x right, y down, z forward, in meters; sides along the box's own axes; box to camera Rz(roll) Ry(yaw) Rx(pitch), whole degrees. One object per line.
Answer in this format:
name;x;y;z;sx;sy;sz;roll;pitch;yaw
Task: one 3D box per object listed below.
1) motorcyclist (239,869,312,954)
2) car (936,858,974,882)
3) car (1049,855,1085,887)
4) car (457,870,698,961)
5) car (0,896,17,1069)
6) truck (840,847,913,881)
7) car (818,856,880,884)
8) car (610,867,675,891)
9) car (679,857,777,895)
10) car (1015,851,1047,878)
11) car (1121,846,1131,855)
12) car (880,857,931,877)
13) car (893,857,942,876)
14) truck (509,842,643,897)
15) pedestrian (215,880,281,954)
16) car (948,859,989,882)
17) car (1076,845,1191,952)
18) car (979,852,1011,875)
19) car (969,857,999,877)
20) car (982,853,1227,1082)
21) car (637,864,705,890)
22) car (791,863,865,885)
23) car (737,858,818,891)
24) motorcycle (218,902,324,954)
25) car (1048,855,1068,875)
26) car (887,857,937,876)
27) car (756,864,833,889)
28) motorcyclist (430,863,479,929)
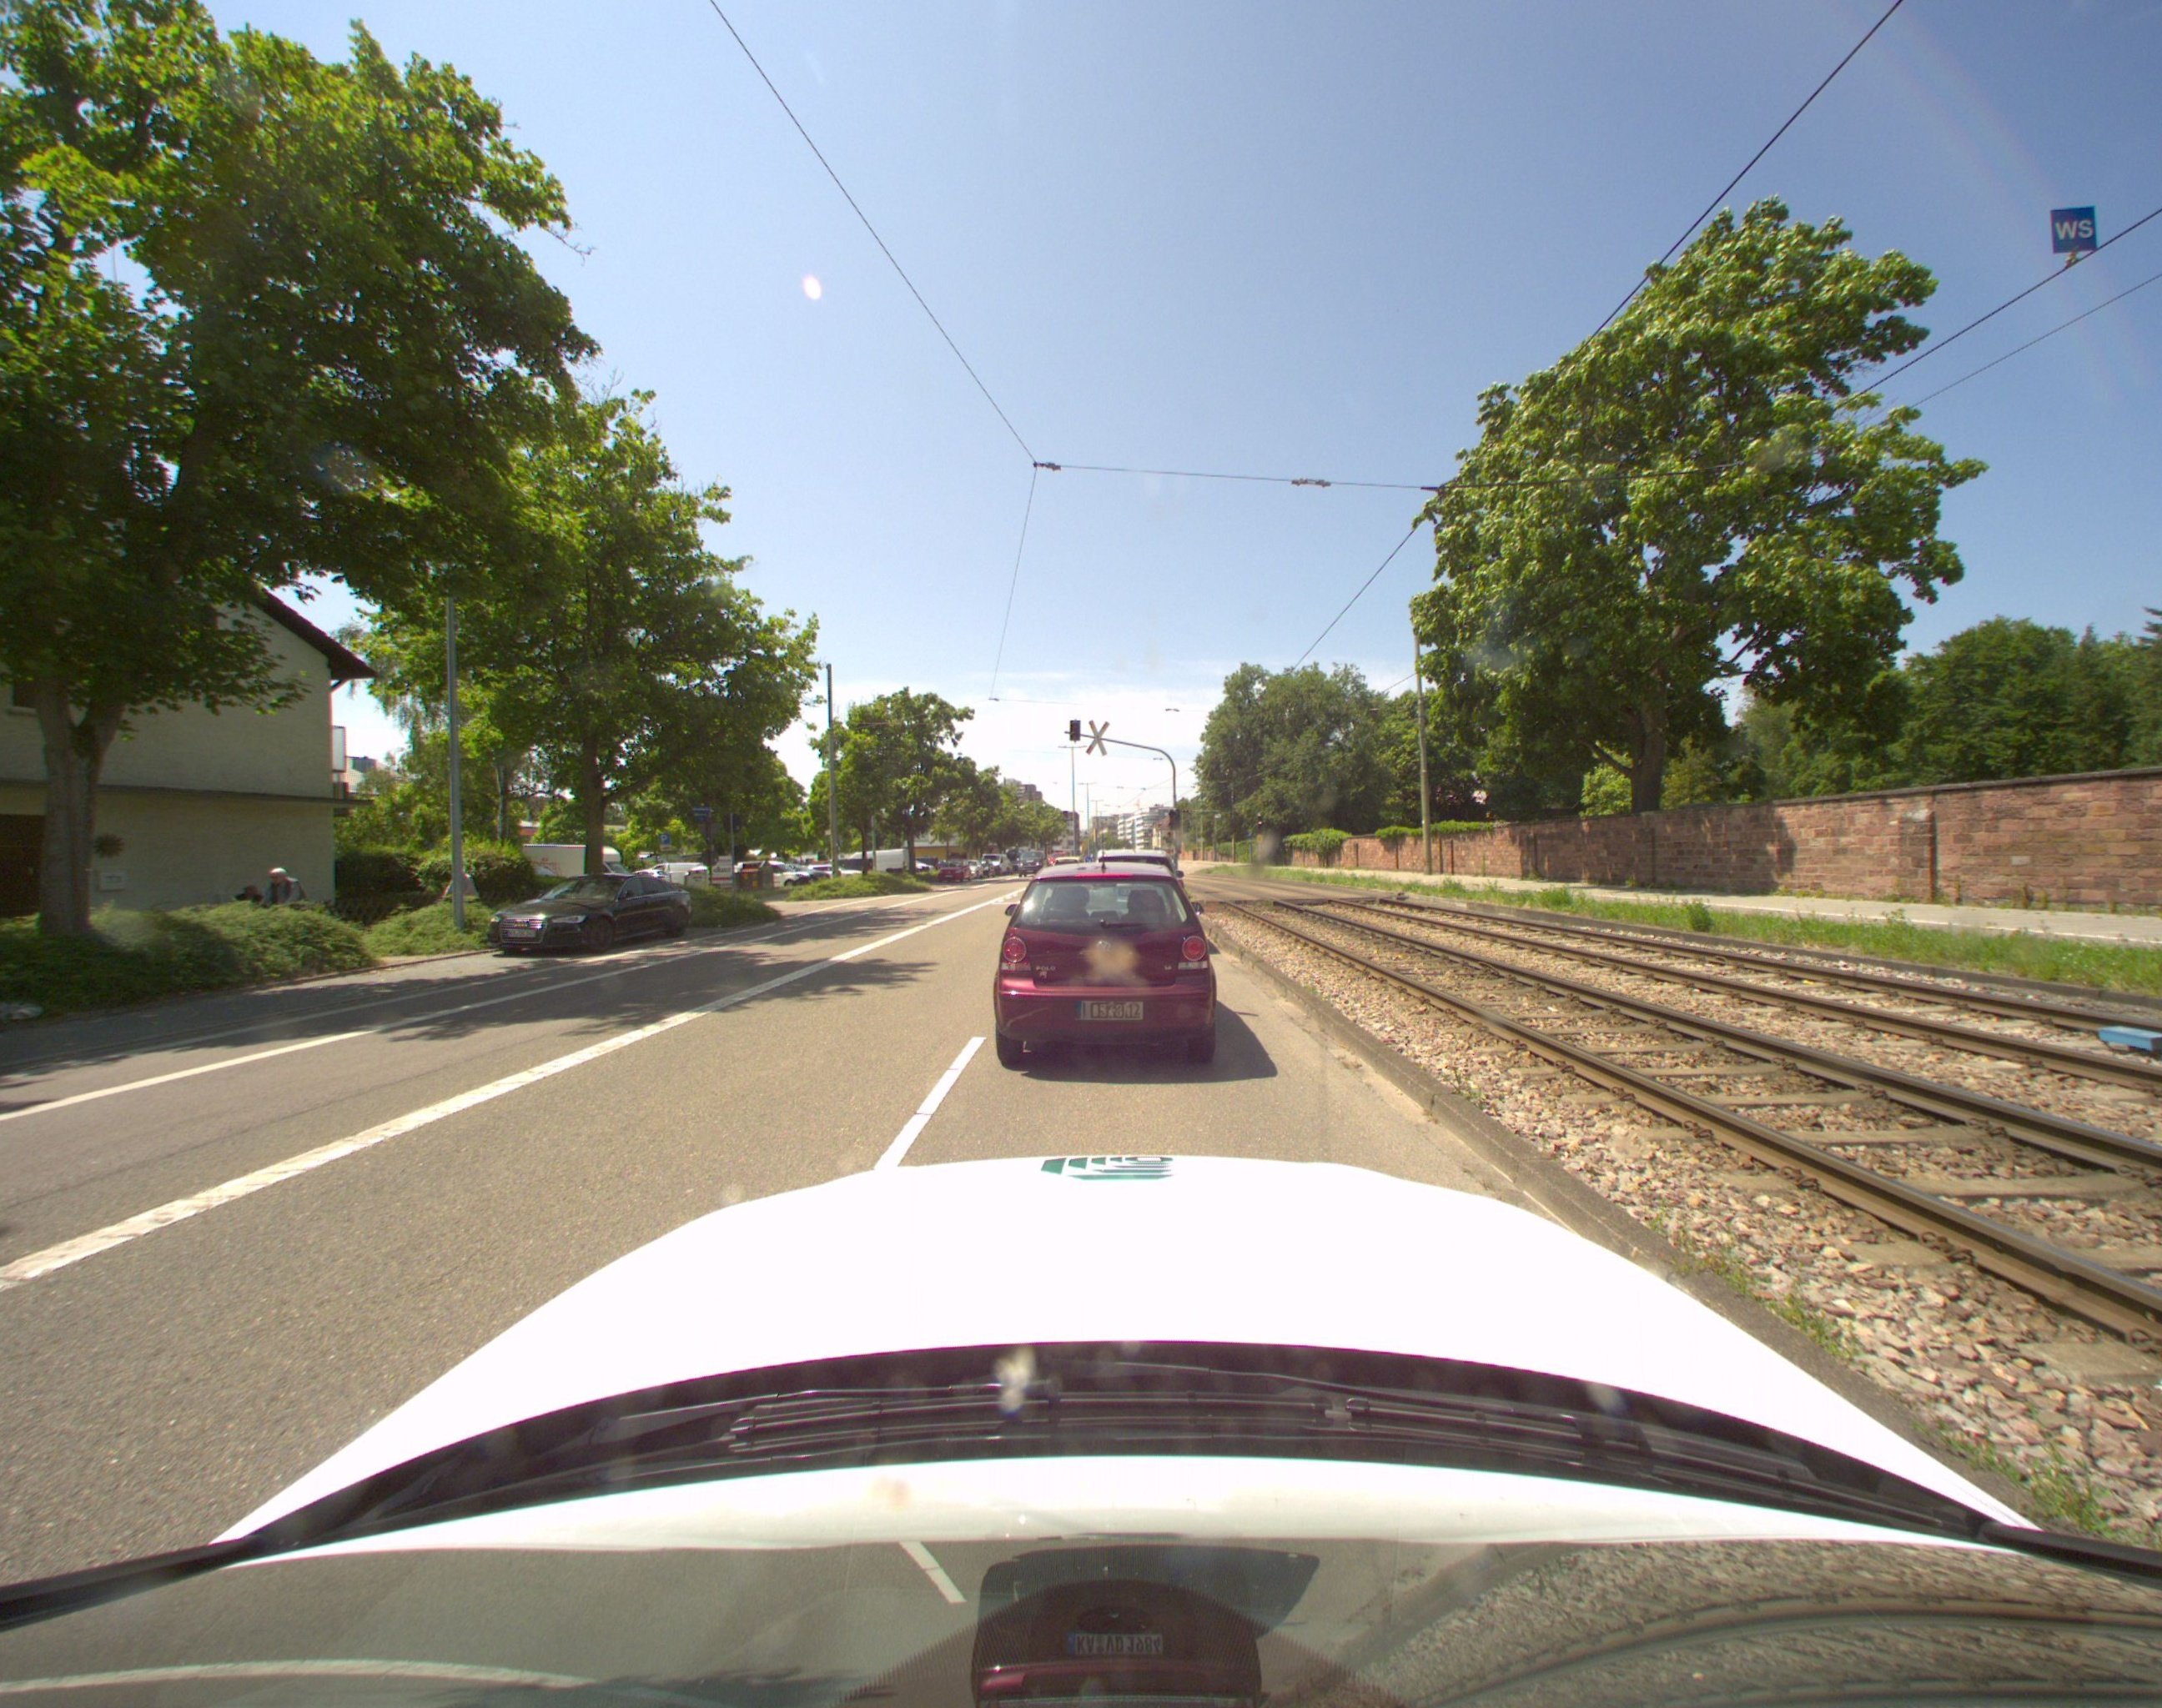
motorcyclist;-14.855;1.042;15.040;0.584;1.503;0.726;1;0;3
car;-8.335;1.047;54.102;1.664;1.546;3.731;0;-1;4
car;-0.625;0.783;39.324;1.545;1.448;3.413;0;0;2
car;-9.812;1.108;16.452;1.888;1.456;4.808;0;0;0
car;-10.206;1.116;5.072;1.670;1.486;4.129;0;0;2
truck;-17.834;0.866;71.230;5.555;2.759;2.434;-2;0;3
car;-18.041;1.260;63.386;4.195;1.995;1.857;-2;0;0
car;-31.712;1.802;58.966;3.733;1.576;1.733;-1;0;1
car;-19.391;1.195;44.925;4.437;1.857;2.059;-2;0;-3
car;-3.777;0.789;62.142;1.911;1.910;4.573;-3;0;2
car;10.770;-0.866;193.534;1.914;1.910;4.566;-2;0;-3
car;-17.711;1.317;82.188;4.702;1.813;1.797;-2;0;0
car;-17.350;1.306;86.514;4.702;1.813;1.797;-2;0;0
truck;-31.642;0.951;51.176;6.954;3.227;2.150;-1;0;0
pedestrian;-17.908;1.344;17.526;0.789;1.510;0.610;-2;0;8
car;-8.239;1.193;59.930;1.710;1.427;4.779;-6;0;6
car;0.888;0.702;14.837;1.788;1.683;4.002;0;0;2
car;-7.483;0.809;71.233;1.854;1.937;4.811;2;0;4
car;-7.832;1.021;66.037;1.607;1.484;3.789;2;0;4
car;0.217;0.750;7.373;1.603;1.498;4.002;0;0;2
car;-30.770;1.703;61.220;4.112;1.820;1.971;-1;0;1
car;-18.727;1.471;60.453;4.745;1.488;2.058;-2;0;0
car;-18.527;1.233;49.798;4.247;1.835;1.675;-2;0;4
motorcycle;-14.867;1.340;14.993;0.524;0.825;1.372;1;0;3
car;-2.485;1.173;88.357;1.892;1.926;4.820;-3;0;1
car;-17.486;1.292;84.398;4.702;1.813;1.797;-2;0;0
car;-18.446;1.438;52.585;4.185;1.403;2.079;-2;0;-2
motorcyclist;-14.703;0.974;19.120;0.584;1.503;0.663;1;0;3
